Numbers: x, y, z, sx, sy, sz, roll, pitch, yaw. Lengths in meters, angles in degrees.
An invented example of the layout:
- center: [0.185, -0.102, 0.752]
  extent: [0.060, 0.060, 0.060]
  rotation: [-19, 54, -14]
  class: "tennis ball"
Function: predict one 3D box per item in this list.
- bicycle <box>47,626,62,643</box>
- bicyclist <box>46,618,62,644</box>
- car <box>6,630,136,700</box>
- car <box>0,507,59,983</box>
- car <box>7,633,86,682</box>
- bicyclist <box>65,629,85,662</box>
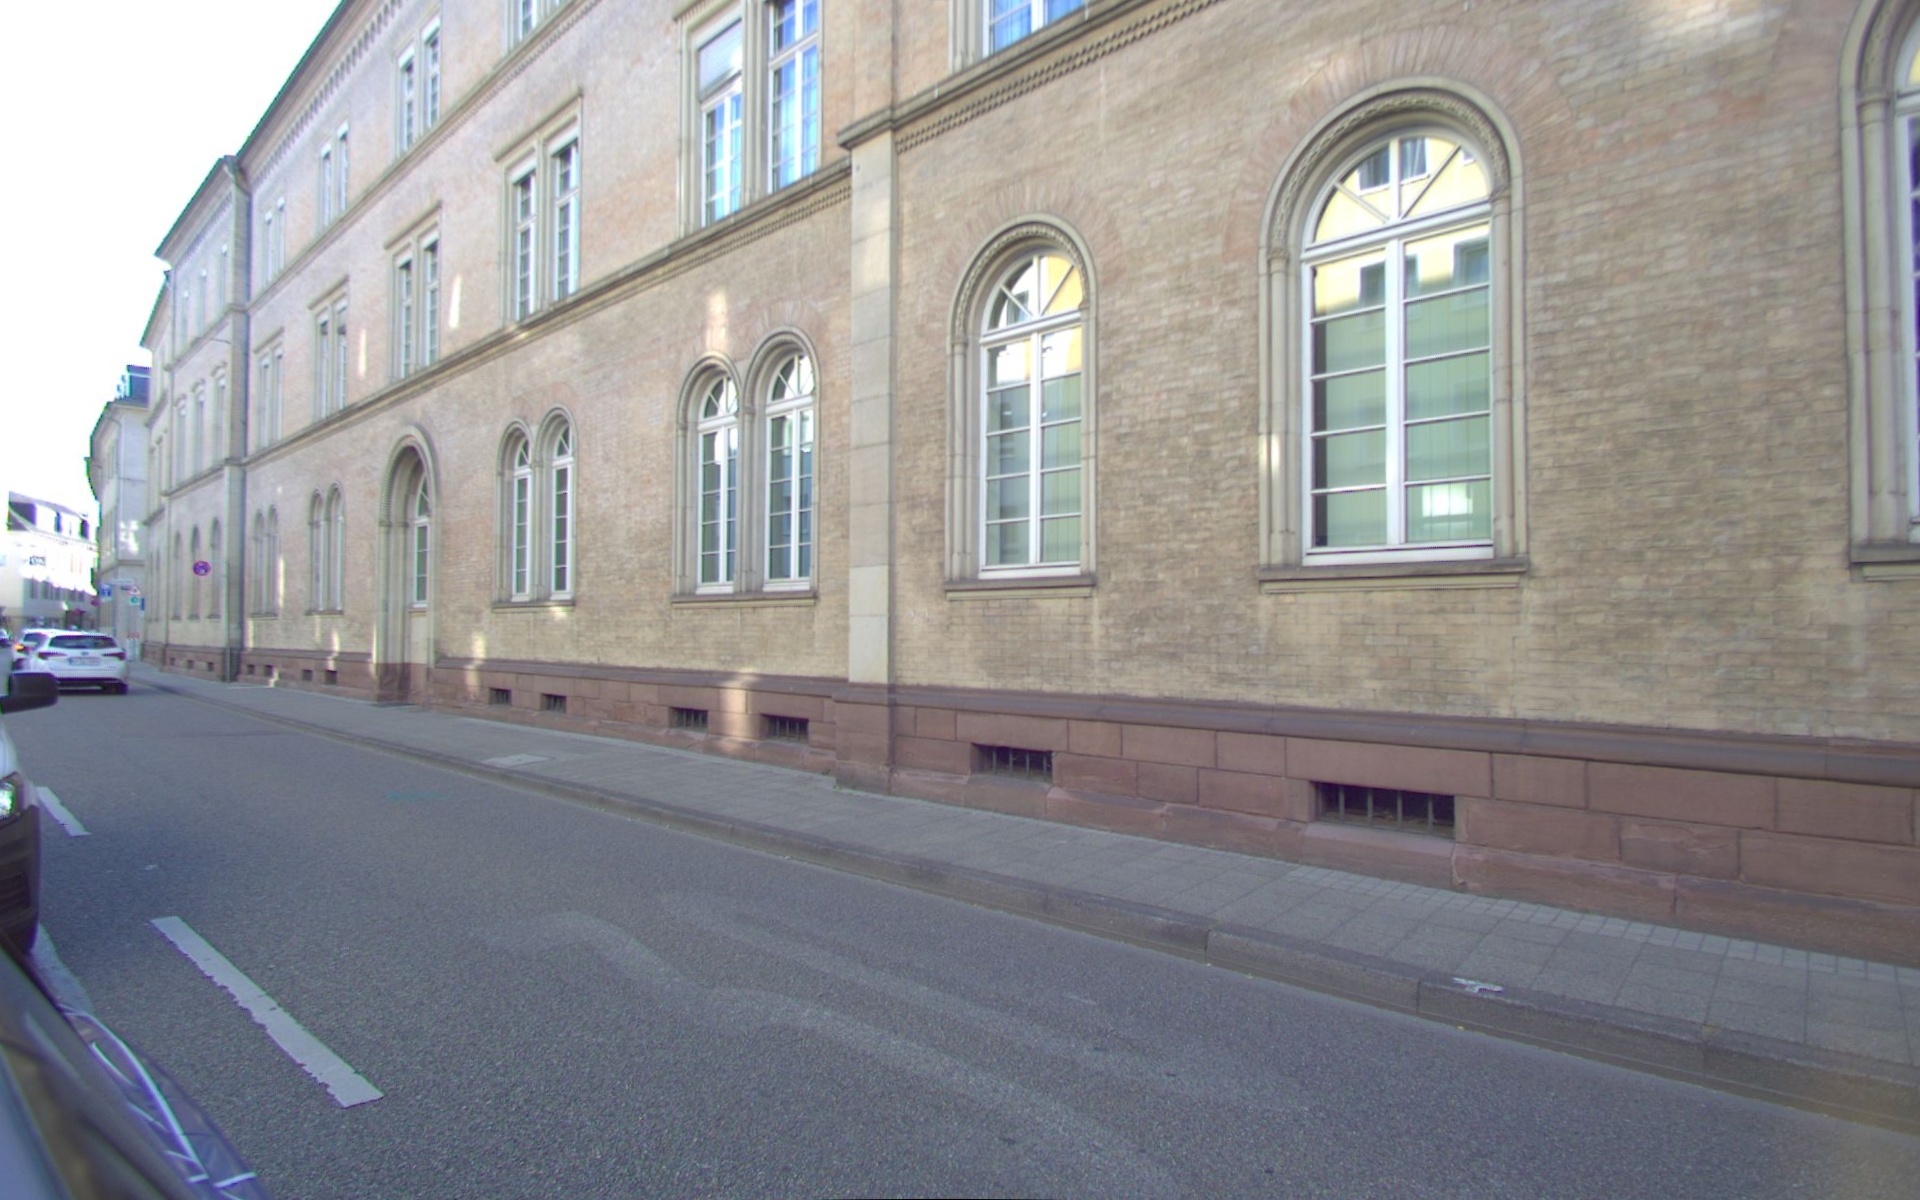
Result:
- center: [-56.955, 2.164, 63.632]
  extent: [0.642, 1.014, 1.808]
  rotation: [5, -5, -42]
  class: "bicycle"
- center: [-56.951, 1.936, 63.634]
  extent: [0.642, 1.579, 0.962]
  rotation: [5, -5, -42]
  class: "bicyclist"
- center: [-21.072, 1.494, 23.927]
  extent: [4.546, 1.487, 1.865]
  rotation: [-2, -4, 44]
  class: "car"
- center: [-6.222, 0.605, 5.137]
  extent: [5.338, 1.850, 1.795]
  rotation: [-2, -3, 41]
  class: "car"
- center: [-31.517, 1.962, 34.863]
  extent: [4.276, 1.595, 1.666]
  rotation: [-2, -5, 44]
  class: "car"
- center: [-38.990, 1.993, 44.572]
  extent: [0.579, 1.454, 0.596]
  rotation: [-2, -3, 45]
  class: "bicyclist"
